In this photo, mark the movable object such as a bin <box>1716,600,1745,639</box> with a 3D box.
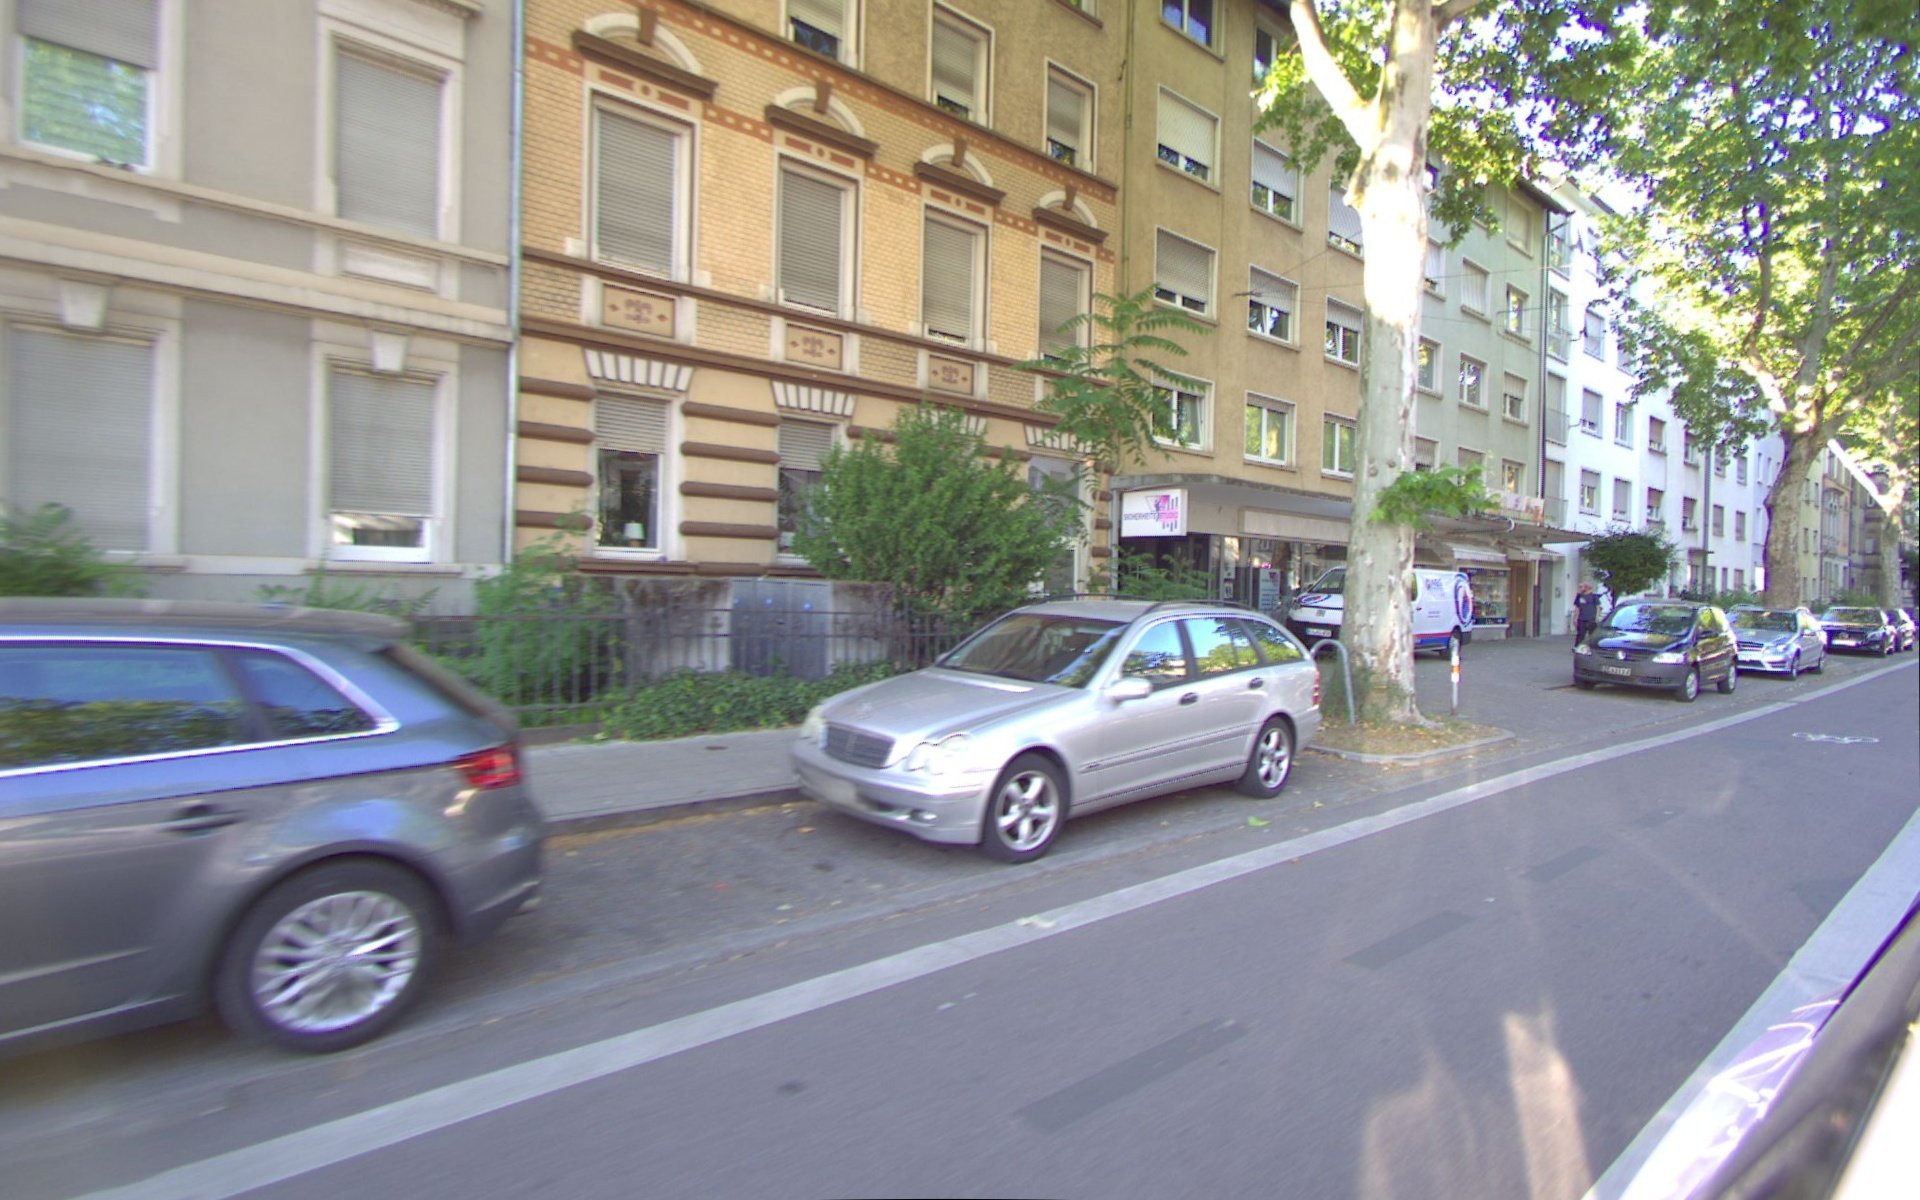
[{"bbox_3d":[23.856,0.597,31.323,0.655,1.173,0.616,0,1,-44],"label":"movable object such as a bin"}]

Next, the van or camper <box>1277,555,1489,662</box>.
[{"bbox_3d":[8.846,0.125,20.906,5.298,1.946,1.945,0,2,-42],"label":"van or camper"}]

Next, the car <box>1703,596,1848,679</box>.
[{"bbox_3d":[17.679,0.731,21.867,4.695,1.562,1.697,0,1,-42],"label":"car"}]

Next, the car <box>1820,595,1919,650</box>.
[{"bbox_3d":[27.420,0.624,30.434,4.288,1.432,1.712,0,3,-42],"label":"car"}]

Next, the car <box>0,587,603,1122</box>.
[{"bbox_3d":[-3.504,0.681,3.074,4.244,1.414,1.714,0,1,-40],"label":"car"}]

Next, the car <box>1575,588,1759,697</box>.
[{"bbox_3d":[11.883,0.623,16.924,3.931,1.564,1.656,0,2,-42],"label":"car"}]

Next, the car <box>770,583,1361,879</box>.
[{"bbox_3d":[1.018,0.646,7.262,4.493,1.469,1.676,0,1,-43],"label":"car"}]

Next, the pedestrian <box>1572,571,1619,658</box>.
[{"bbox_3d":[15.304,0.327,24.377,0.995,2.039,0.683,0,1,-42],"label":"pedestrian"}]

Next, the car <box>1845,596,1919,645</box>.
[{"bbox_3d":[30.974,0.641,33.672,4.288,1.432,1.712,0,3,-42],"label":"car"}]
